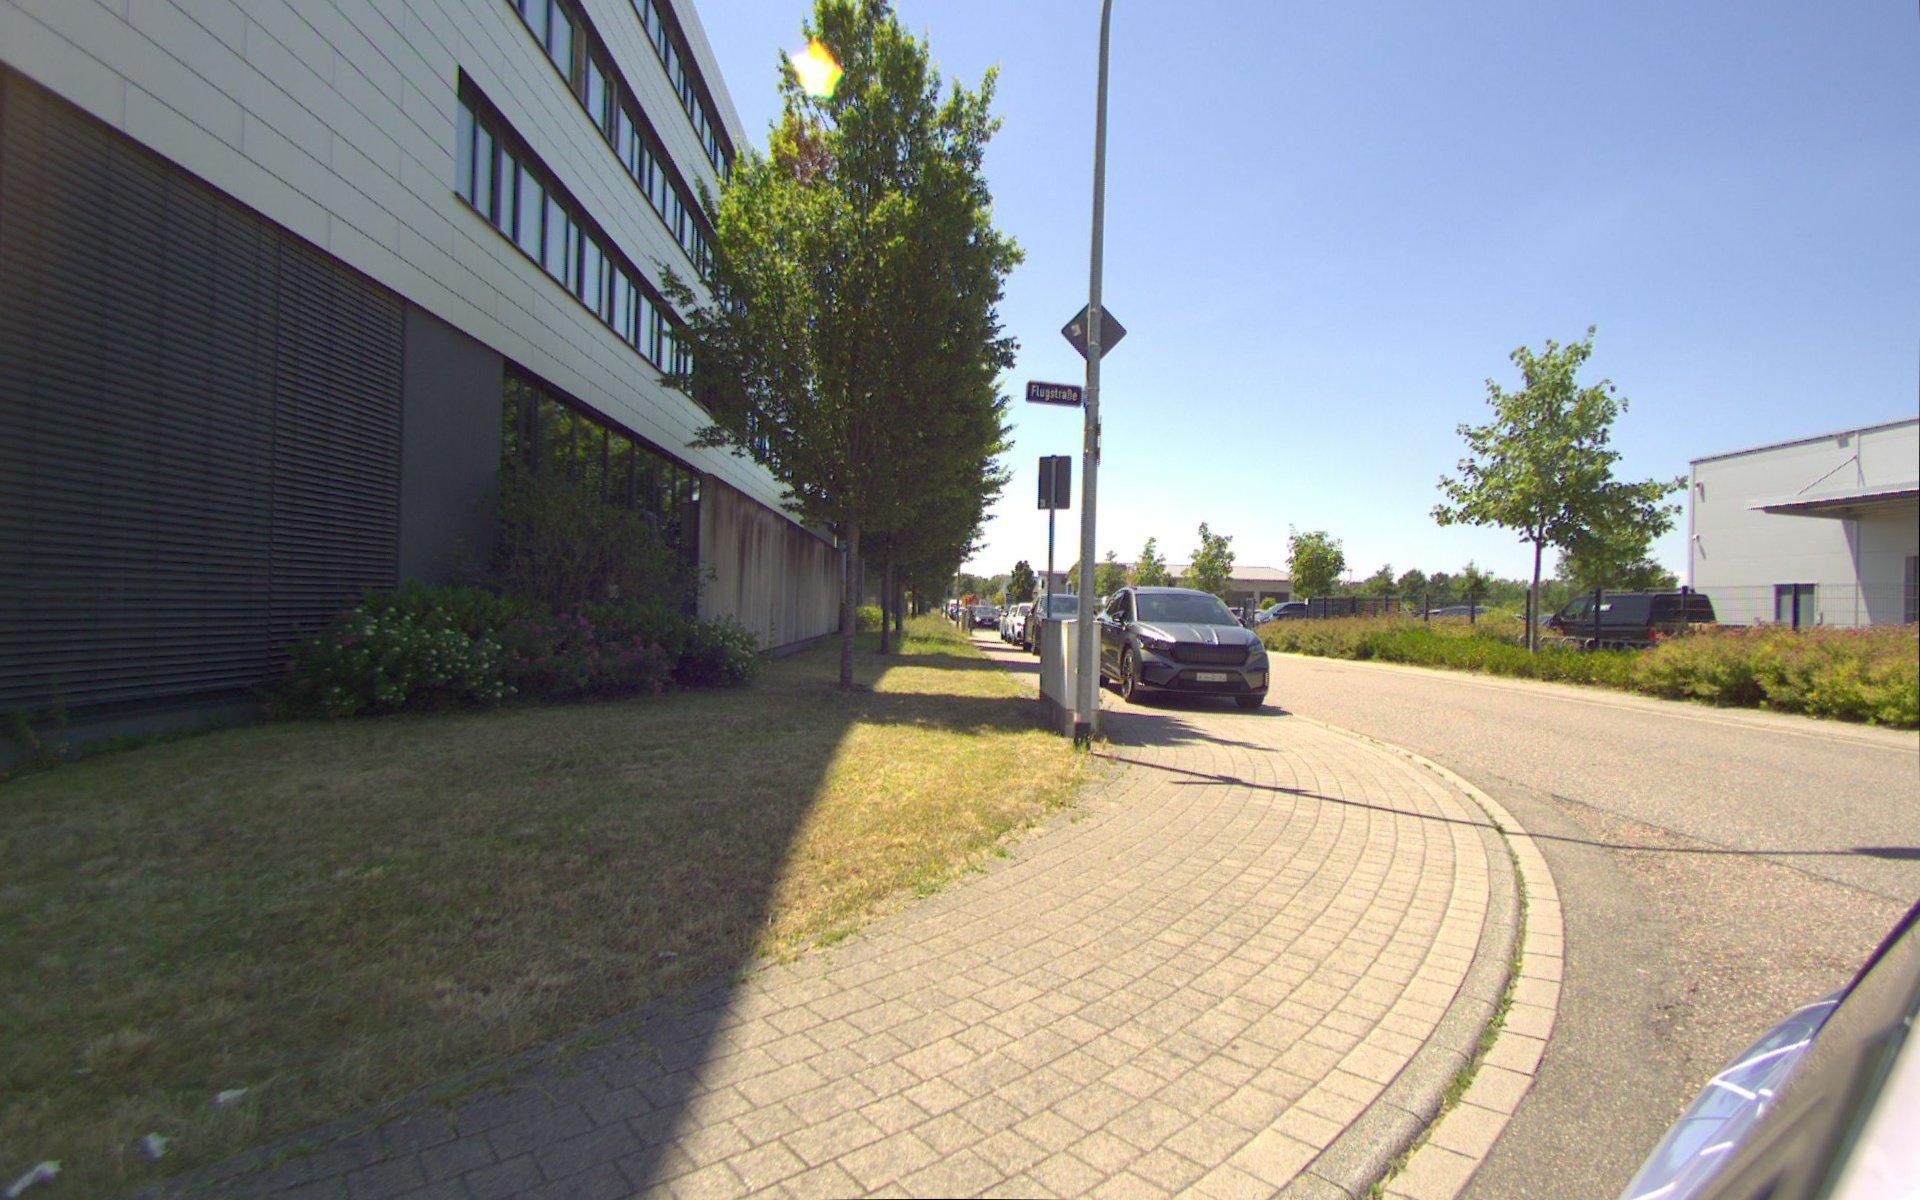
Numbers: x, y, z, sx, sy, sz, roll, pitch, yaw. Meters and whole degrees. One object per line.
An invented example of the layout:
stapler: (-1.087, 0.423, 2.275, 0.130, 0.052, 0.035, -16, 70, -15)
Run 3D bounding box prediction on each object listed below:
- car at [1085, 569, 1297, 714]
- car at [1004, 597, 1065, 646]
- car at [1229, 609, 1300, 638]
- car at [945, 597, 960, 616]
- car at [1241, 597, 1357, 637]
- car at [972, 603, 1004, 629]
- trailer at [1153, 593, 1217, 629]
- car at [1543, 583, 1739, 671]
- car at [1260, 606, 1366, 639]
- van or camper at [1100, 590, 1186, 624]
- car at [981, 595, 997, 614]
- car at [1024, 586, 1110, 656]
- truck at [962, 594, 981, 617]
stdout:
car: (3.150, 0.530, 14.828, 1.774, 1.683, 4.609, 4, -1, -2)
car: (2.525, 0.710, 35.176, 1.689, 1.500, 4.031, 4, -1, -1)
car: (16.673, 1.269, 55.507, 3.316, 1.517, 1.905, 1, -1, -1)
car: (-1.111, 1.038, 154.356, 2.021, 2.733, 4.837, 2, -1, -2)
car: (16.616, 0.819, 49.770, 4.978, 1.874, 1.964, 1, -1, -1)
car: (1.697, 0.957, 62.434, 1.664, 1.495, 4.270, 3, -1, -2)
trailer: (15.421, 0.763, 69.447, 3.921, 2.390, 1.728, 0, -1, -4)
car: (17.796, 0.658, 26.774, 1.969, 2.125, 4.693, 0, 0, 0)
car: (16.444, 1.026, 47.281, 4.235, 1.465, 1.964, 1, -1, -1)
van or camper: (15.437, 0.594, 85.659, 6.669, 2.718, 2.575, 2, -1, 0)
car: (5.325, 0.860, 185.121, 2.552, 3.273, 6.222, 2, -1, -1)
car: (2.840, 0.541, 27.769, 1.730, 1.684, 4.363, 3, -1, -1)
truck: (1.916, 0.937, 171.807, 2.557, 3.590, 10.504, 2, -1, -2)
